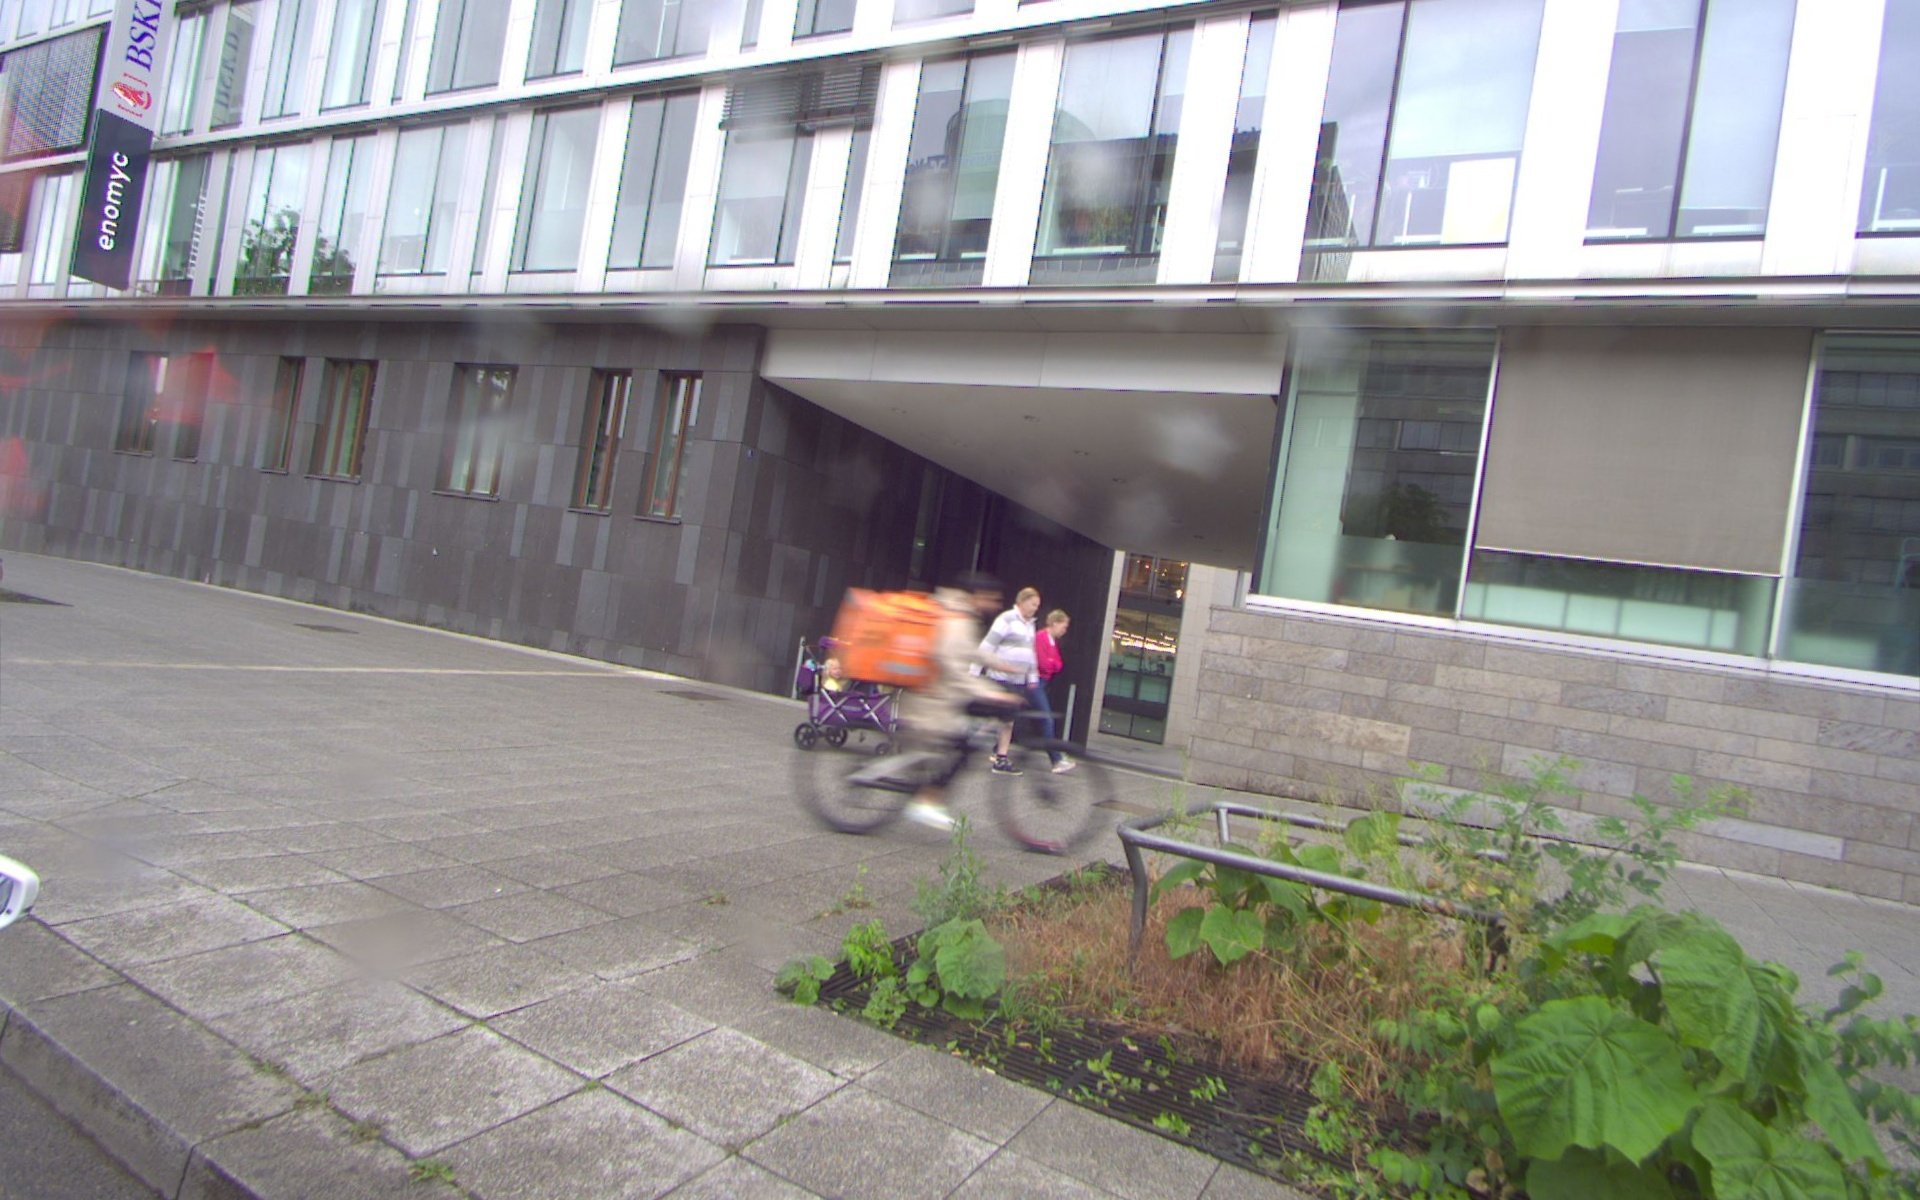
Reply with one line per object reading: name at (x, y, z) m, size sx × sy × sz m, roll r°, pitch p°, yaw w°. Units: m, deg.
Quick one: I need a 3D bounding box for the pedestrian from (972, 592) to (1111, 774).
pedestrian at (0.864, 0.851, 10.615) m, size 1.080 × 1.712 × 0.719 m, roll 7°, pitch 1°, yaw 27°

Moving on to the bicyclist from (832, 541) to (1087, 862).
bicyclist at (-0.045, 0.591, 6.007) m, size 1.118 × 1.598 × 1.014 m, roll 10°, pitch -4°, yaw -12°

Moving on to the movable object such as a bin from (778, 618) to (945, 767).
movable object such as a bin at (-1.002, 0.912, 10.226) m, size 1.420 × 1.280 × 0.732 m, roll 6°, pitch 0°, yaw 29°

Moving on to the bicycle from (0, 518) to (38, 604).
bicycle at (-13.062, -0.638, 12.253) m, size 0.665 × 1.069 × 2.543 m, roll 7°, pitch -2°, yaw 27°

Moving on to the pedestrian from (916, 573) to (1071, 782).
pedestrian at (0.338, 0.726, 9.786) m, size 1.028 × 1.814 × 0.901 m, roll 7°, pitch 1°, yaw 26°

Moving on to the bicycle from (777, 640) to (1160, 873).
bicycle at (0.001, 0.902, 6.012) m, size 2.033 × 1.126 × 1.011 m, roll 6°, pitch -3°, yaw -12°
